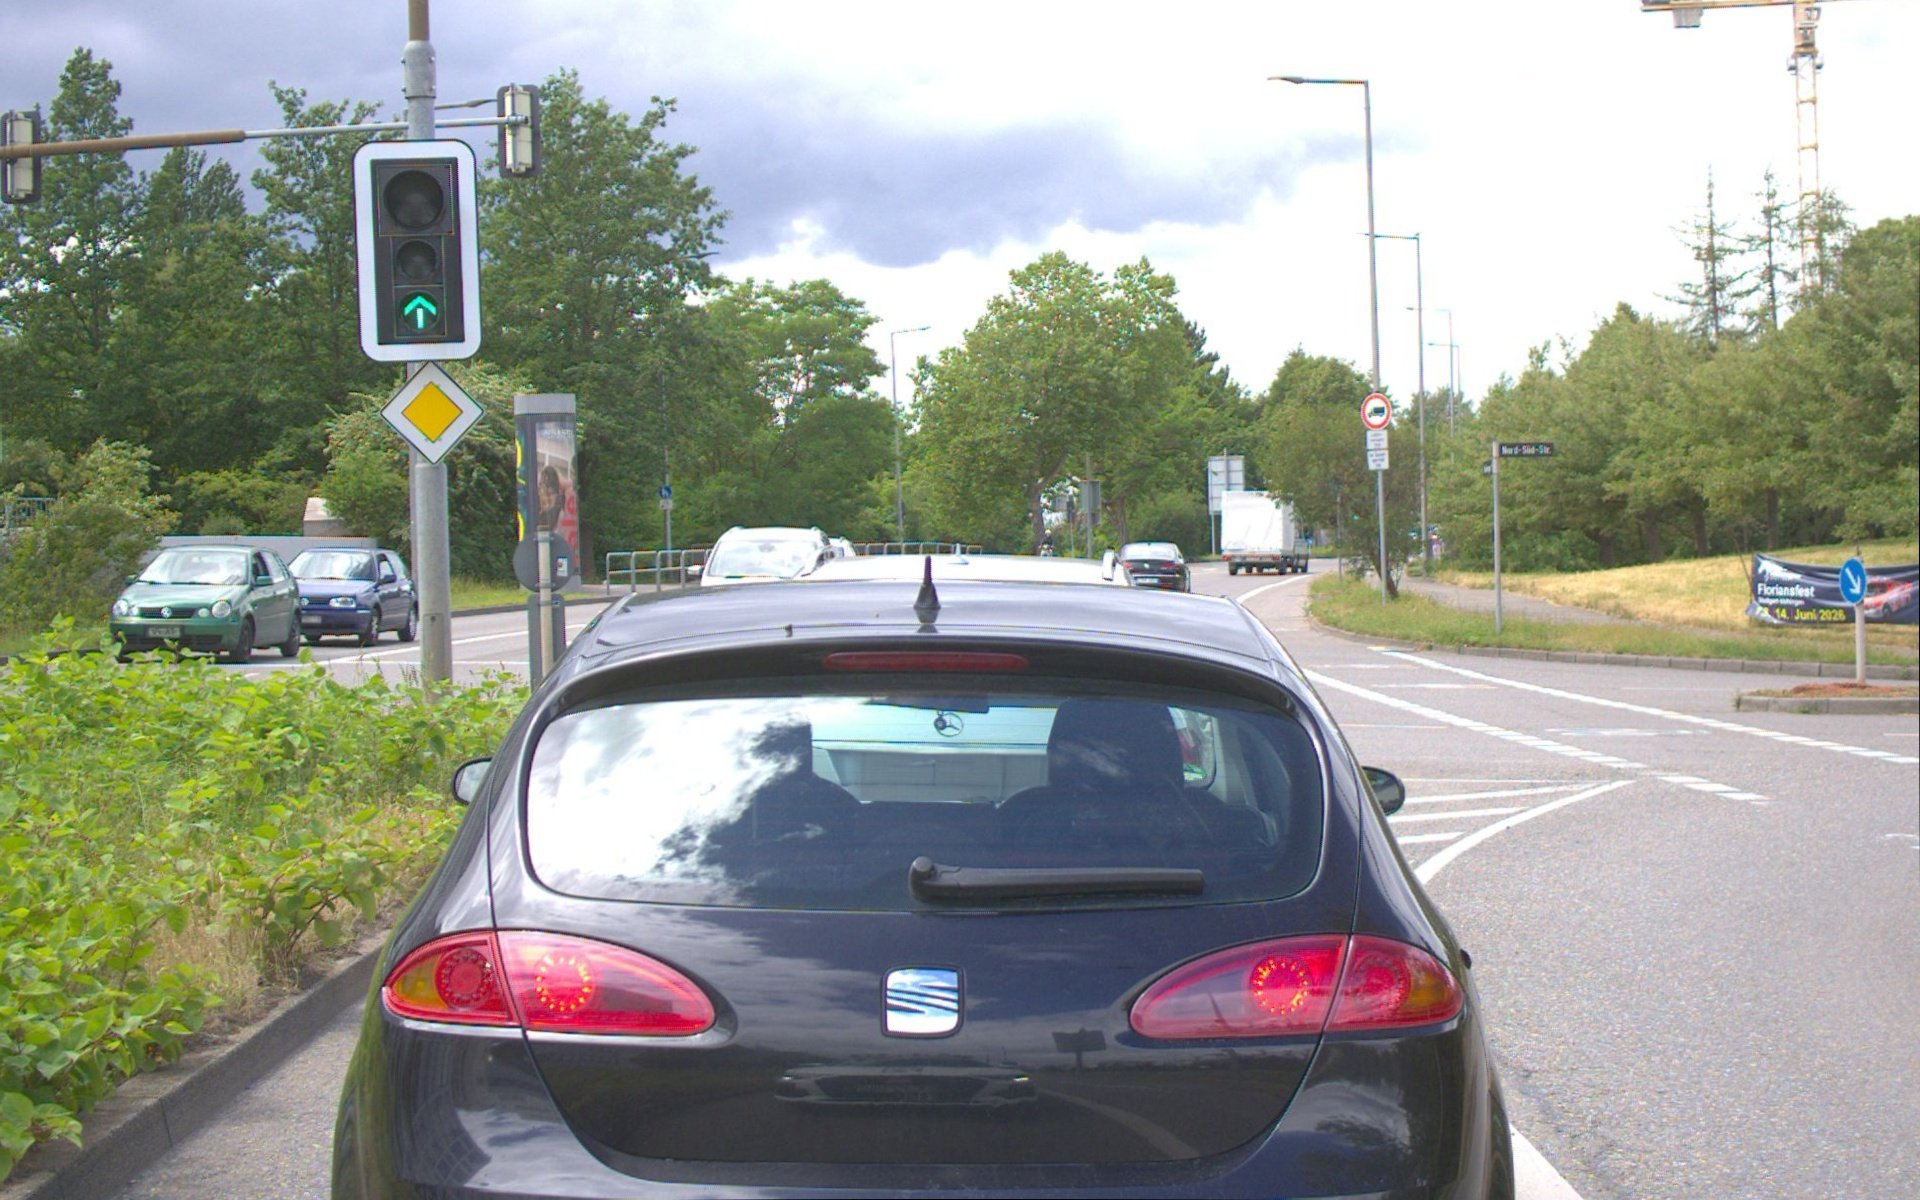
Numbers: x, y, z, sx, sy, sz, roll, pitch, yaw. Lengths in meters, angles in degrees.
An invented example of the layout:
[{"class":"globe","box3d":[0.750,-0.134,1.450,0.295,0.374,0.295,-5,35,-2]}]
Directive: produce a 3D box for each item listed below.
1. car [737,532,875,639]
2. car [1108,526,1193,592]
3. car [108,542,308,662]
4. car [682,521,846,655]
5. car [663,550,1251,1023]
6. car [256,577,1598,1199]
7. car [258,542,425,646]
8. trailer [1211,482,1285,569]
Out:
[{"class":"car","box3d":[-2.291,-0.252,52.034,1.660,1.513,4.084,1,1,3]},{"class":"car","box3d":[4.620,-1.008,83.259,1.994,1.560,4.470,0,1,3]},{"class":"car","box3d":[-9.403,-0.009,43.229,1.605,1.427,3.752,0,1,2]},{"class":"car","box3d":[-2.568,-0.208,46.028,1.820,1.681,4.645,1,1,1]},{"class":"car","box3d":[0.010,0.570,12.702,1.834,1.462,3.751,1,1,1]},{"class":"car","box3d":[-0.060,0.695,6.135,1.711,1.412,3.459,1,1,0]},{"class":"car","box3d":[-8.966,-0.122,50.085,1.554,1.414,3.895,0,1,3]},{"class":"trailer","box3d":[10.589,-2.701,126.032,2.492,3.063,5.585,1,0,6]}]
